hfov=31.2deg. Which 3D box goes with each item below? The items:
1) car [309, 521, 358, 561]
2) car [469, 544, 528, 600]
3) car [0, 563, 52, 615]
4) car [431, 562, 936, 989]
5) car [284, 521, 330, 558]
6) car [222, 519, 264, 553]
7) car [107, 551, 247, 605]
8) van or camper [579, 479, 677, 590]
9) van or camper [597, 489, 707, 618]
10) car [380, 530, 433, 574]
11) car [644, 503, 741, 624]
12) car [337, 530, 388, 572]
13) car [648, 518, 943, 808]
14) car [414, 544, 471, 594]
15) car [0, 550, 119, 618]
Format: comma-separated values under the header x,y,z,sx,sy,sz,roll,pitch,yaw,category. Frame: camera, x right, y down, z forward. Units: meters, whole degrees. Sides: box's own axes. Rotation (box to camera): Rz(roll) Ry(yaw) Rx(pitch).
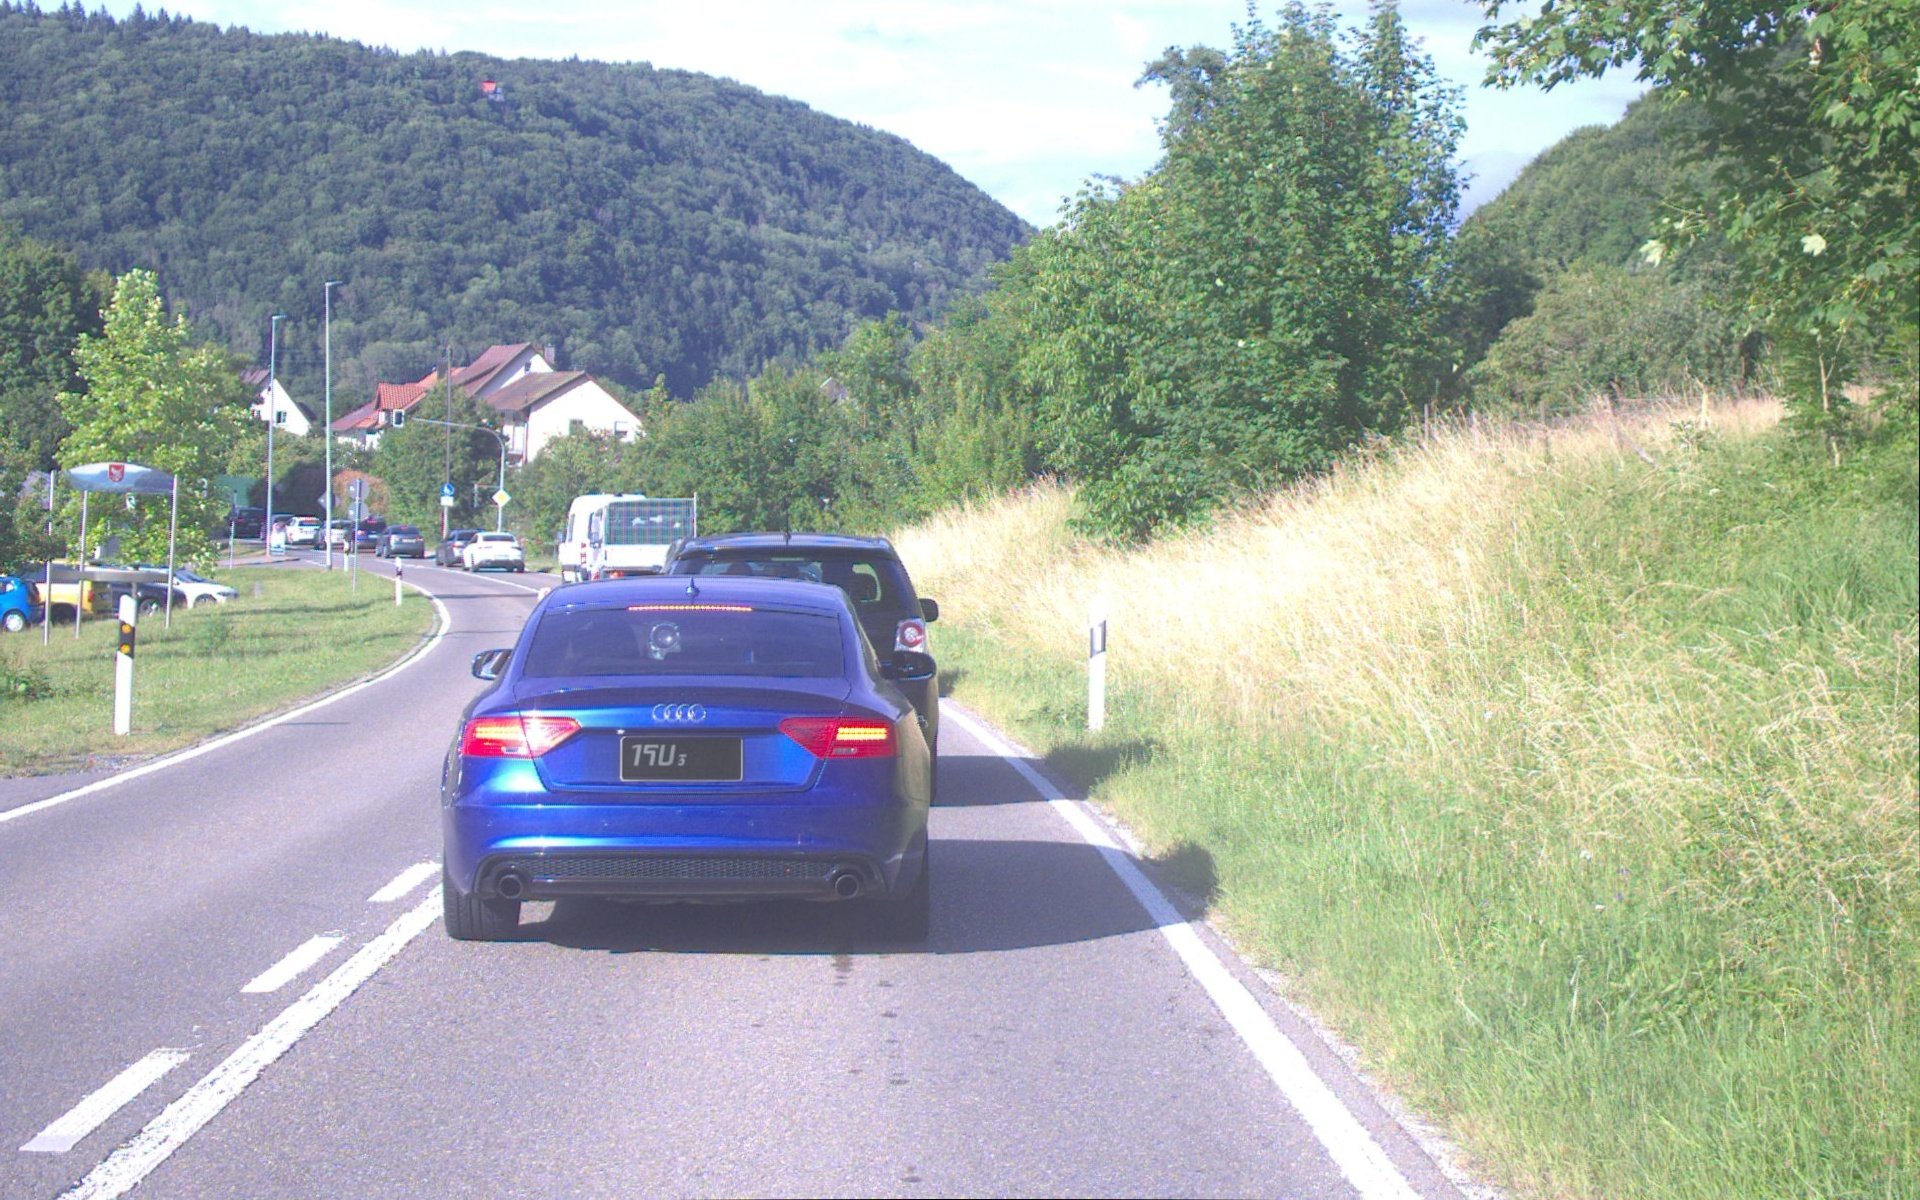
x,y,z,sx,sy,sz,roll,pitch,yaw,category
-31.183,-2.929,170.996,1.676,1.918,4.001,-1,1,-21,car
-16.400,-1.007,122.150,1.659,1.918,4.001,-1,1,-14,car
-26.222,-0.289,92.193,3.368,1.369,1.660,-1,1,-3,car
-1.006,0.592,13.729,1.742,1.445,3.517,-1,1,-1,car
-34.205,-3.142,179.937,1.676,1.918,4.001,-1,1,-21,car
-40.848,-3.646,195.800,1.676,1.918,4.001,-1,1,-21,car
-24.880,-0.702,109.312,4.036,1.655,1.655,0,1,4,car
-8.484,-1.659,87.485,2.280,2.704,5.768,-1,1,-7,van or camper
-6.293,-0.950,69.772,2.051,2.497,5.813,-1,1,-6,van or camper
-24.406,-2.102,151.523,1.659,1.918,4.001,-1,1,-18,car
-4.633,-0.650,59.287,1.567,2.007,4.001,-1,1,-6,car
-28.171,-2.297,161.914,1.676,1.918,4.001,-1,1,-20,car
-1.047,0.337,21.450,1.645,1.619,3.517,2,1,-3,car
-19.975,-1.205,132.632,1.659,1.918,4.001,-1,1,-15,car
-25.705,-0.438,94.726,4.553,1.808,1.841,0,1,4,car
